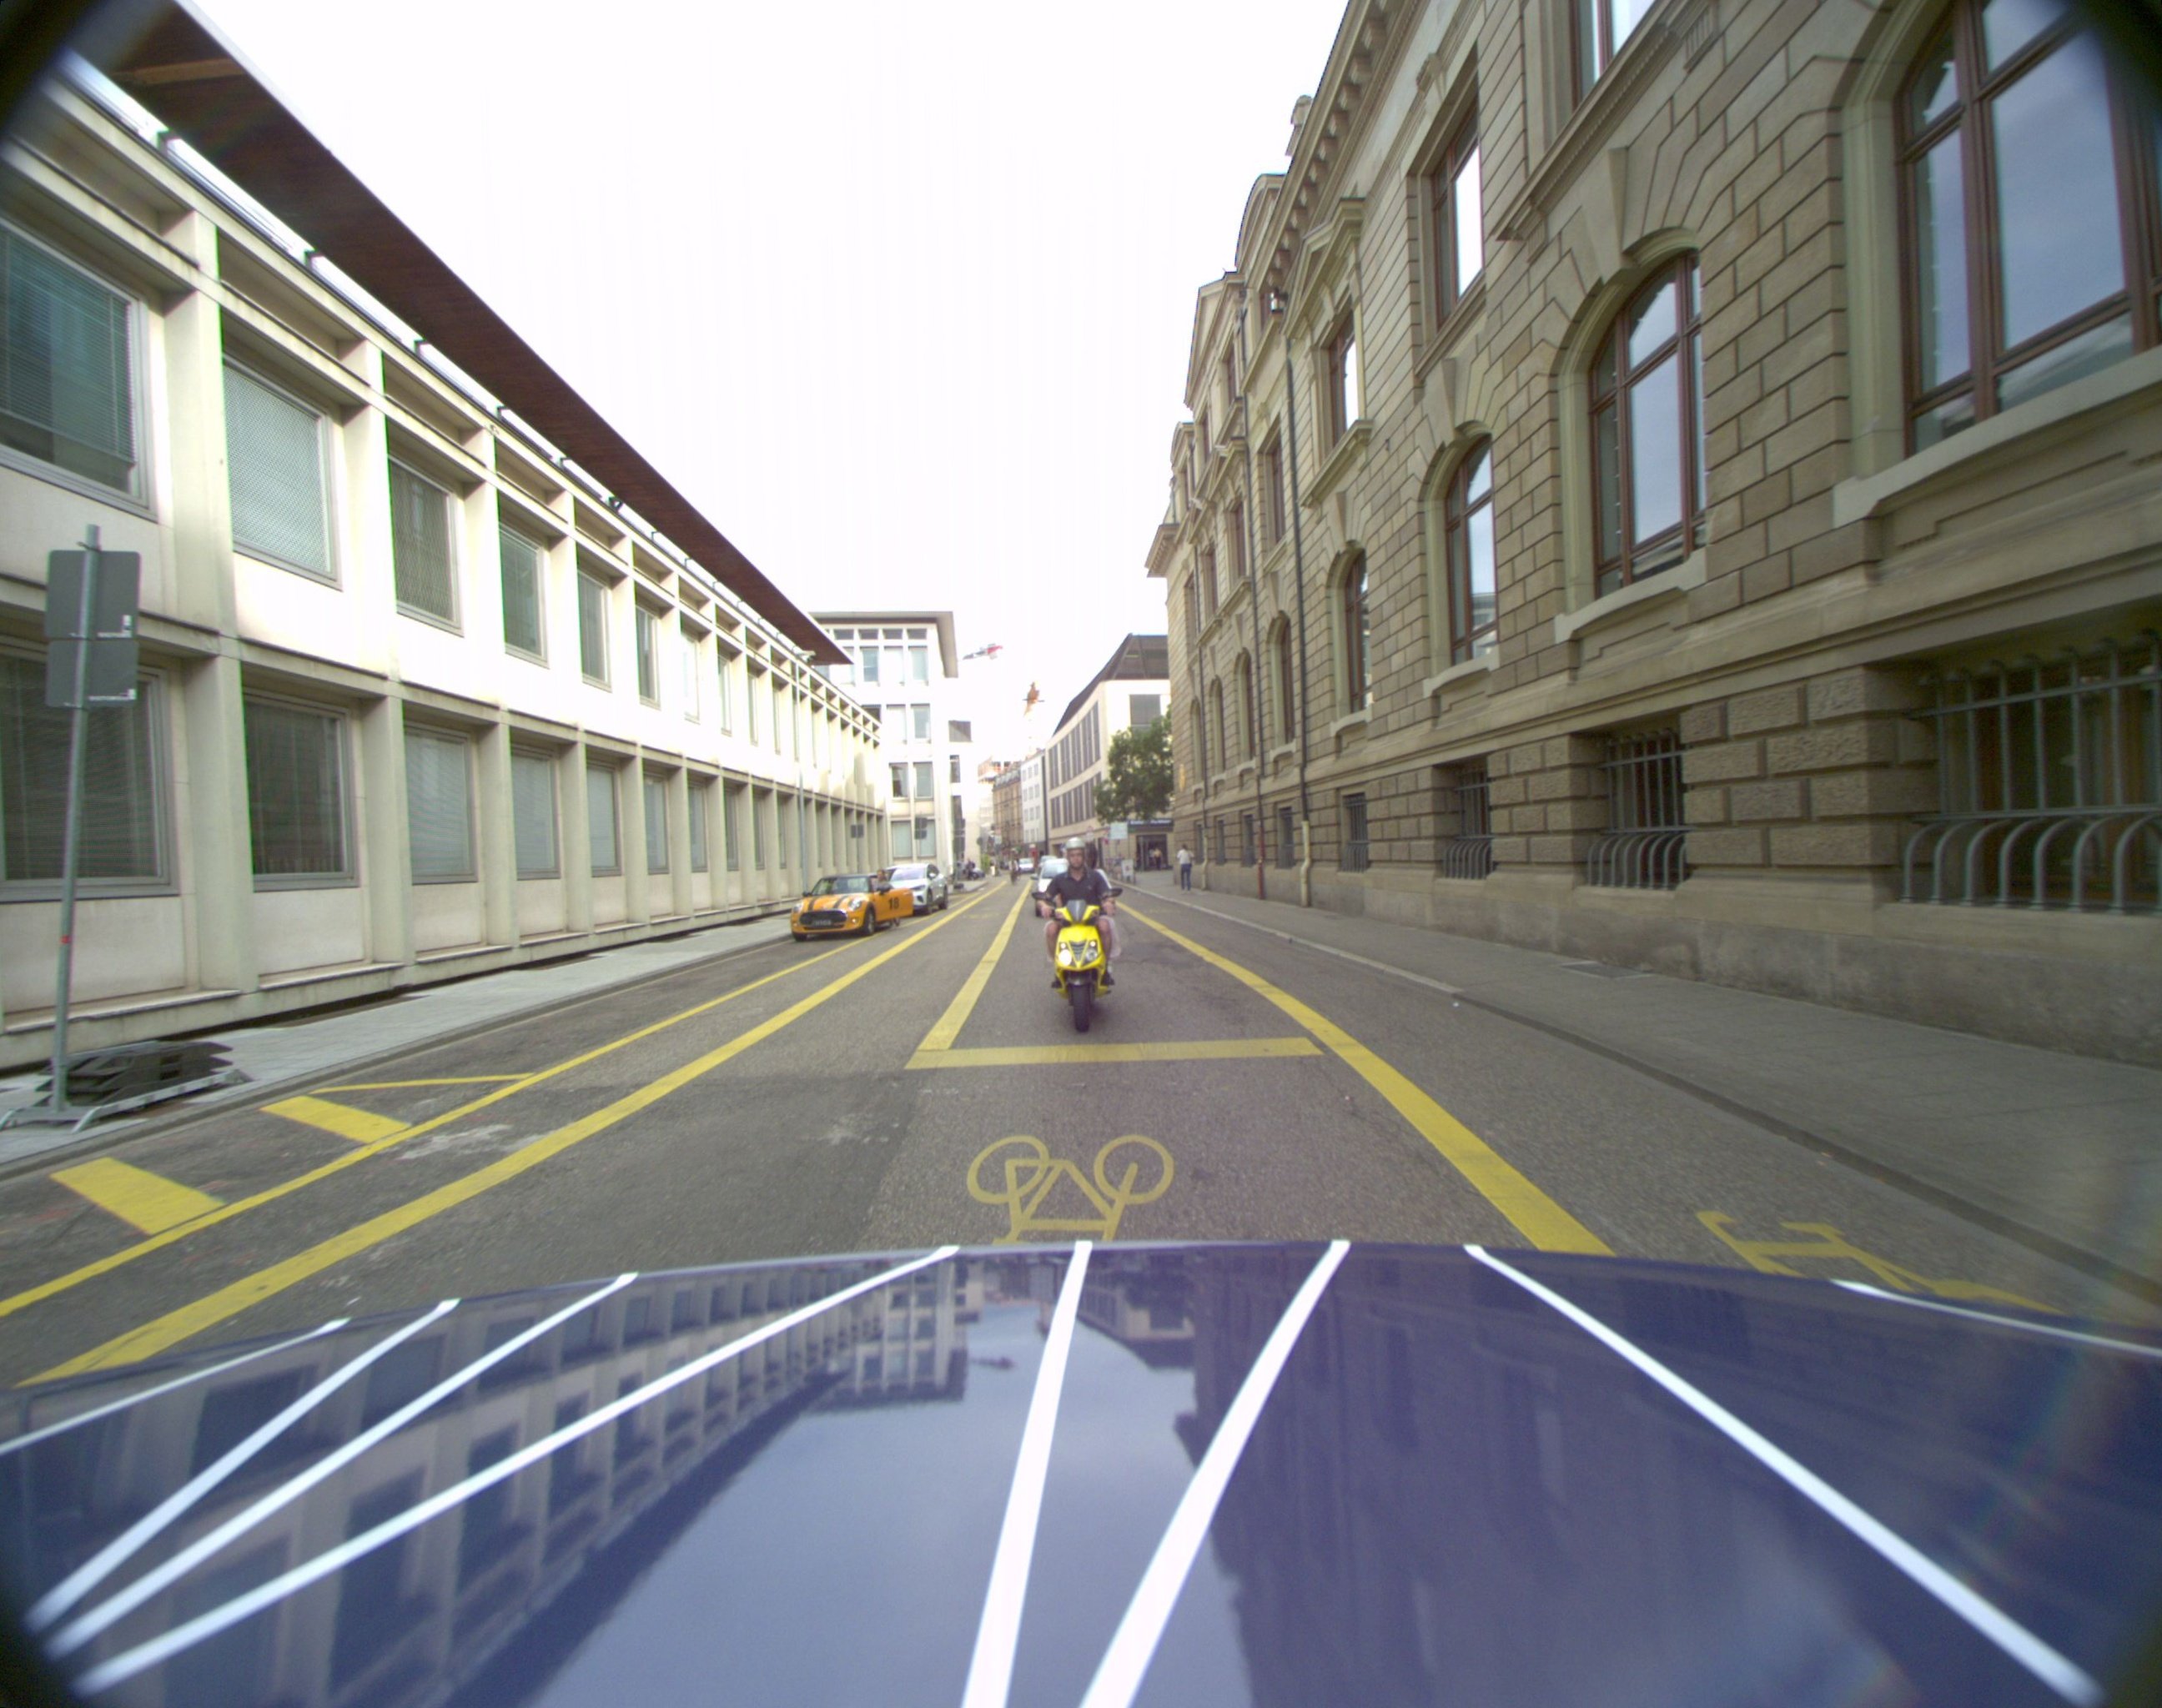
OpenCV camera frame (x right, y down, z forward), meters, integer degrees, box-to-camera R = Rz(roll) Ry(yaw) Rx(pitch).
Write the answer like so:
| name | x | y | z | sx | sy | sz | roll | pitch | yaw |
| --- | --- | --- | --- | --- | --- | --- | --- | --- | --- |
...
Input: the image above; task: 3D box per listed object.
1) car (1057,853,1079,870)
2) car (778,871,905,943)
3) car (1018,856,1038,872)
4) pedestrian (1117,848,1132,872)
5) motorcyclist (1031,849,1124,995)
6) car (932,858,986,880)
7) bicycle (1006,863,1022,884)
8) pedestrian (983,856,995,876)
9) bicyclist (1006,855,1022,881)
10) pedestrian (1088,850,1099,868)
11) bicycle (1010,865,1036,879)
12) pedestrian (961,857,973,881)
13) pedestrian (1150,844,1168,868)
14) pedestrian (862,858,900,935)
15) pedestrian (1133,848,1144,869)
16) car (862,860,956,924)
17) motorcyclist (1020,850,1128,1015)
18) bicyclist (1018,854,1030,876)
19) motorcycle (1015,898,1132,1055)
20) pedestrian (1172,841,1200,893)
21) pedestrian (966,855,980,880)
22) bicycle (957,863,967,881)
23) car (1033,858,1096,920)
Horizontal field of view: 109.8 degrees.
| name | x | y | z | sx | sy | sz | roll | pitch | yaw |
| --- | --- | --- | --- | --- | --- | --- | --- | --- | --- |
| car | -1.376 | 0.743 | 78.404 | 1.564 | 1.547 | 4.099 | -3 | 1 | -11 |
| car | -5.475 | 1.154 | 17.874 | 1.684 | 1.426 | 3.887 | -3 | -1 | 0 |
| car | -5.560 | 0.984 | 79.235 | 1.564 | 1.547 | 4.099 | -3 | 1 | -11 |
| pedestrian | 3.363 | 0.488 | 58.764 | 0.775 | 1.820 | 0.860 | -3 | 1 | -24 |
| motorcyclist | -0.023 | 0.683 | 7.932 | 0.903 | 1.445 | 0.742 | -1 | 0 | 2 |
| car | -9.925 | 1.239 | 62.248 | 4.194 | 1.581 | 1.814 | -2 | 1 | -6 |
| bicycle | -4.247 | 1.210 | 48.391 | 0.871 | 1.188 | 2.863 | -2 | 1 | -3 |
| pedestrian | -8.433 | 1.120 | 69.905 | 0.655 | 1.755 | 0.642 | -8 | 2 | -40 |
| bicyclist | -4.266 | 0.889 | 48.501 | 0.892 | 1.585 | 0.877 | -2 | 1 | -3 |
| pedestrian | 1.213 | 0.541 | 76.023 | 0.879 | 1.699 | 0.910 | -6 | 2 | -4 |
| bicycle | -4.272 | 1.316 | 55.974 | 1.726 | 0.829 | 0.601 | -5 | -1 | -18 |
| pedestrian | -8.644 | 1.119 | 57.525 | 0.644 | 1.755 | 0.653 | -7 | 2 | -15 |
| pedestrian | 5.725 | 0.156 | 55.830 | 1.029 | 1.710 | 0.818 | -5 | 1 | -3 |
| pedestrian | -4.763 | 0.989 | 18.113 | 0.705 | 1.753 | 0.699 | -3 | 1 | -6 |
| pedestrian | 5.162 | 0.387 | 68.491 | 0.648 | 1.820 | 0.860 | -3 | 1 | -16 |
| car | -5.413 | 1.132 | 24.517 | 1.865 | 1.596 | 4.511 | -6 | 1 | 0 |
| motorcyclist | -0.050 | 0.693 | 7.222 | 0.924 | 1.445 | 1.065 | -1 | 0 | 1 |
| bicyclist | -4.206 | 0.819 | 55.997 | 0.644 | 1.610 | 0.622 | -5 | 0 | -18 |
| motorcycle | -0.037 | 1.084 | 7.396 | 0.929 | 1.158 | 2.127 | -2 | 0 | 1 |
| pedestrian | 3.788 | 0.456 | 27.473 | 0.665 | 1.809 | 1.047 | -4 | 1 | -3 |
| pedestrian | -8.108 | 1.012 | 56.880 | 0.746 | 1.804 | 0.755 | -7 | 2 | -15 |
| bicycle | -7.958 | 1.188 | 50.766 | 0.590 | 1.161 | 1.813 | -3 | 1 | -8 |
| car | -0.478 | 0.892 | 21.175 | 1.563 | 1.482 | 3.783 | -1 | 1 | -2 |
